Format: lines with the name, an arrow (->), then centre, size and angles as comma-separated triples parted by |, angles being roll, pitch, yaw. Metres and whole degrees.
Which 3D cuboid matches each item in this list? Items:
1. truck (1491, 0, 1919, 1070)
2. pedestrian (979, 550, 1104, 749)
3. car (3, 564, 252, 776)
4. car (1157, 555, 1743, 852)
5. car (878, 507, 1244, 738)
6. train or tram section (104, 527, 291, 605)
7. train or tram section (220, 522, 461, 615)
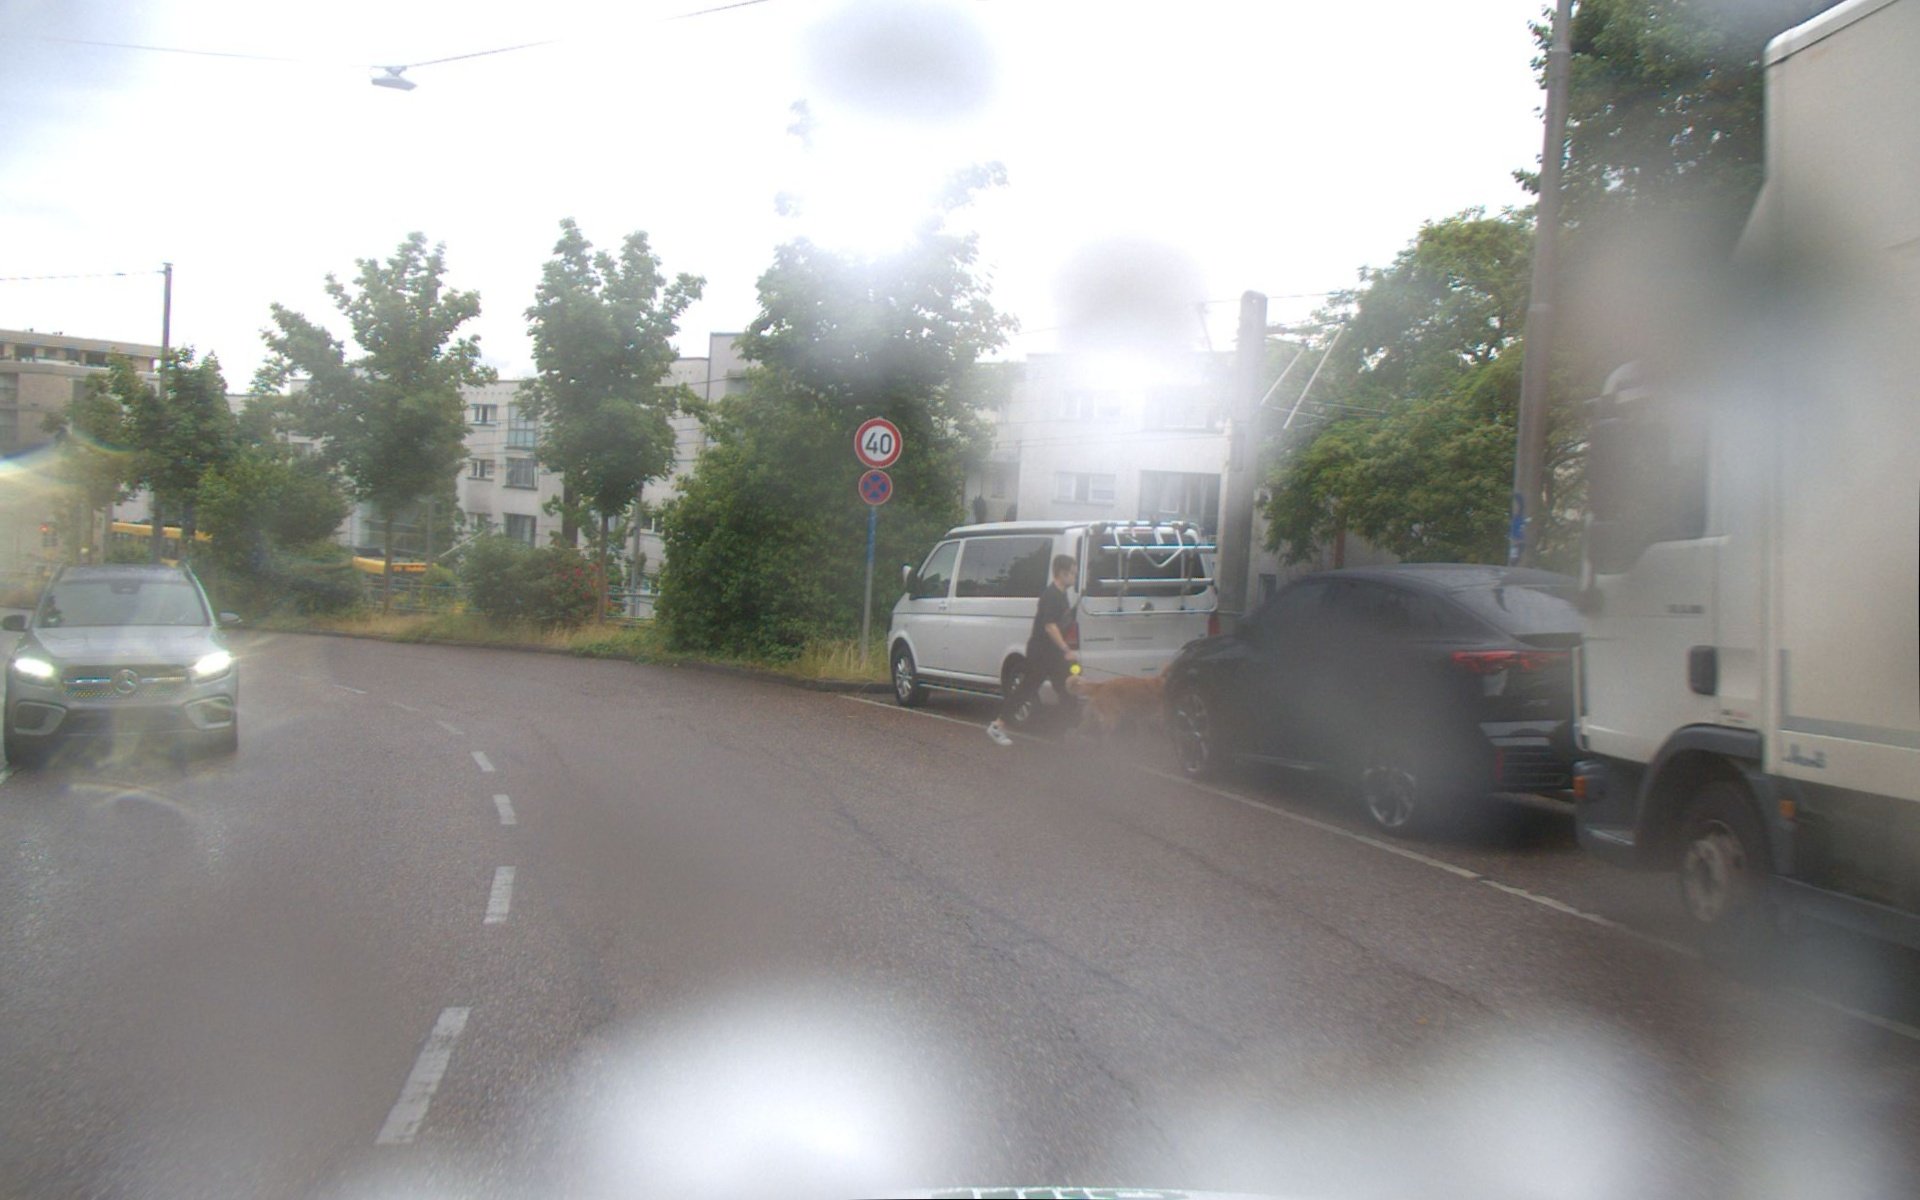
truck -> 4.513, -0.401, 3.898 | 2.950, 3.636, 8.323 | -1, 1, -7
pedestrian -> 0.727, 0.410, 14.621 | 0.903, 1.690, 0.805 | 0, 2, 19
car -> -7.737, 0.516, 15.727 | 1.793, 1.698, 4.279 | -1, 2, -23
car -> 2.999, 0.516, 11.164 | 1.692, 1.583, 4.255 | -1, 1, -18
car -> 0.859, 0.135, 17.184 | 1.852, 2.048, 4.656 | -1, 1, -24
train or tram section -> -42.895, -1.944, 92.369 | 3.317, 4.016, 18.500 | 1, 1, -45
train or tram section -> -30.264, -1.561, 79.663 | 3.317, 4.016, 18.961 | 1, 1, -45
